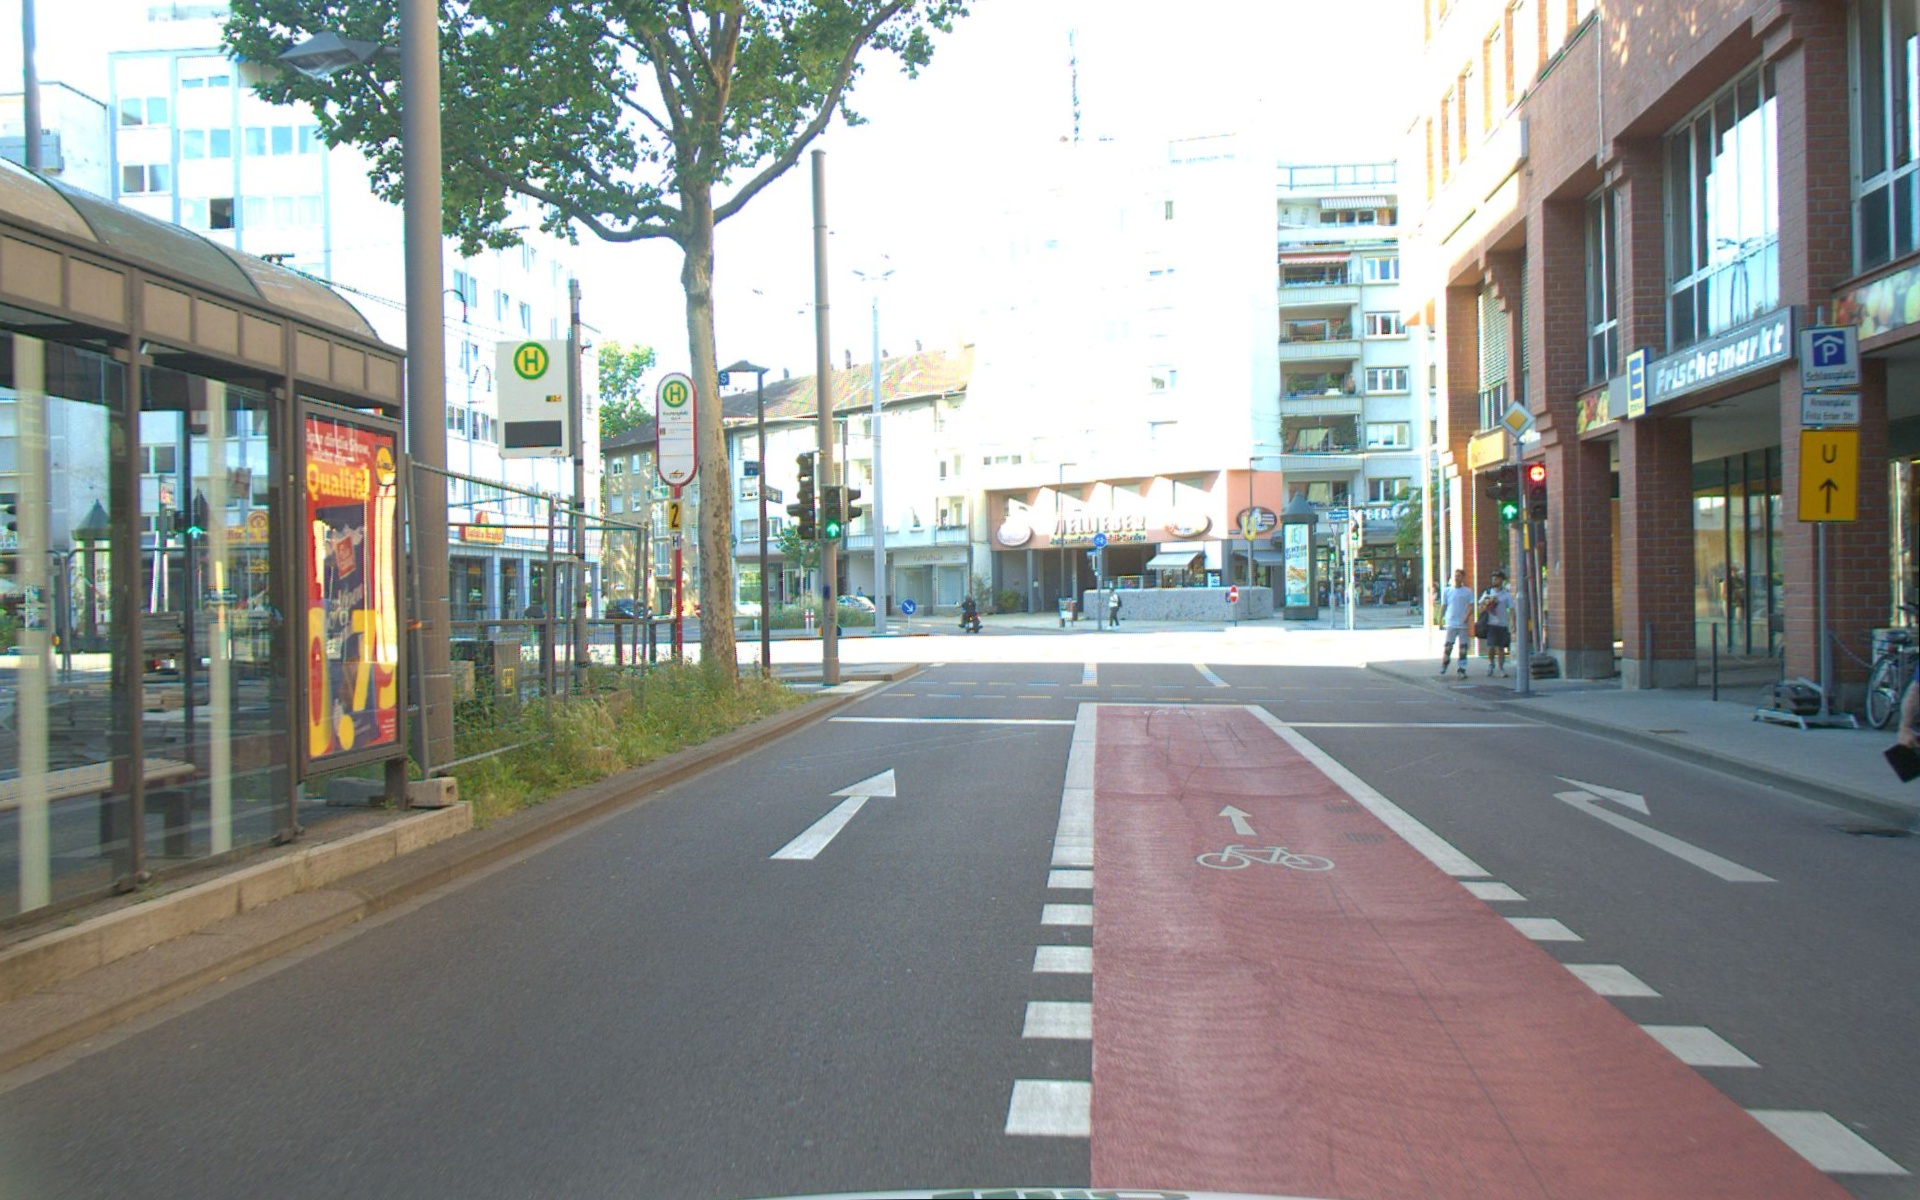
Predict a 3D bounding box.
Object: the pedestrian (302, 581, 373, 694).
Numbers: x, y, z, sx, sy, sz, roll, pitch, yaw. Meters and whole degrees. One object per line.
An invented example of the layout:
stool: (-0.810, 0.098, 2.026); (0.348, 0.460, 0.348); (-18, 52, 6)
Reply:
pedestrian: (-9.964, 0.590, 26.496); (0.761, 1.765, 0.849); (-1, 0, 2)

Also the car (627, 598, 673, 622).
car: (-18.960, 0.592, 101.480); (1.795, 1.410, 4.597); (-2, 0, 2)

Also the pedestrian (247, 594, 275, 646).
pedestrian: (-24.861, 0.712, 58.826); (0.615, 1.823, 0.785); (-1, 0, 6)

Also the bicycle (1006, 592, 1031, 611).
bicycle: (3.391, 0.081, 95.523); (0.491, 1.056, 1.615); (-1, 0, -39)

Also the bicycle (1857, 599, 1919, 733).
bicycle: (8.967, 0.602, 15.527); (0.332, 1.204, 1.679); (-1, 0, 6)

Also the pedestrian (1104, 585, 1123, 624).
pedestrian: (6.424, 0.205, 69.237); (0.535, 1.611, 0.549); (-1, 0, -38)

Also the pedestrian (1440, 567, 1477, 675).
pedestrian: (8.493, 0.352, 28.178); (0.466, 1.824, 0.541); (-1, 0, 5)

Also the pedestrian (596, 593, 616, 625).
pedestrian: (-19.680, 0.523, 92.027); (0.801, 1.754, 0.764); (-1, 0, -43)

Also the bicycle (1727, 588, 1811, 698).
bicycle: (9.879, 0.497, 20.232); (0.332, 1.278, 1.711); (-1, 0, 6)

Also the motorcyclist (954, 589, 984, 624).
motorcyclist: (0.364, 0.256, 66.267); (0.953, 1.370, 1.134); (0, 0, -13)

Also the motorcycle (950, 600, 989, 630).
motorcycle: (0.365, 0.593, 66.300); (0.956, 1.151, 2.796); (0, 0, -13)

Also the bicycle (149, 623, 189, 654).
bicycle: (-28.730, 1.389, 60.082); (0.583, 1.071, 2.005); (-1, 1, -4)

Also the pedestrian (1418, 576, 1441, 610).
pedestrian: (20.638, -0.304, 72.723); (0.706, 1.445, 0.925); (-1, 1, 36)

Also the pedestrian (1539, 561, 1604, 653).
pedestrian: (10.954, 0.115, 29.621); (0.836, 1.617, 0.745); (-1, 0, -35)

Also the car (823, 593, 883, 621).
car: (-5.697, 0.360, 87.711); (1.899, 1.413, 3.969); (-1, 0, -25)

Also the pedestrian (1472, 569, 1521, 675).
pedestrian: (8.996, 0.362, 27.750); (0.620, 1.755, 0.630); (-1, 0, 4)

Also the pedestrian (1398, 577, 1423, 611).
pedestrian: (20.127, -0.271, 73.871); (0.708, 1.471, 0.923); (0, 1, 42)

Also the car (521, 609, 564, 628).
car: (-35.390, 1.531, 140.163); (2.021, 1.531, 4.034); (-2, 1, -40)

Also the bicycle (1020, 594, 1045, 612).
bicycle: (4.214, 0.181, 95.821); (0.491, 1.056, 1.615); (-1, 0, -39)

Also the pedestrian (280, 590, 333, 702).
pedestrian: (-10.156, 0.713, 25.711); (0.554, 1.709, 0.531); (-1, 0, 6)

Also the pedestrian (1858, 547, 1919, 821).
pedestrian: (6.614, 0.495, 10.615); (1.169, 1.726, 0.886); (-3, 0, 8)
